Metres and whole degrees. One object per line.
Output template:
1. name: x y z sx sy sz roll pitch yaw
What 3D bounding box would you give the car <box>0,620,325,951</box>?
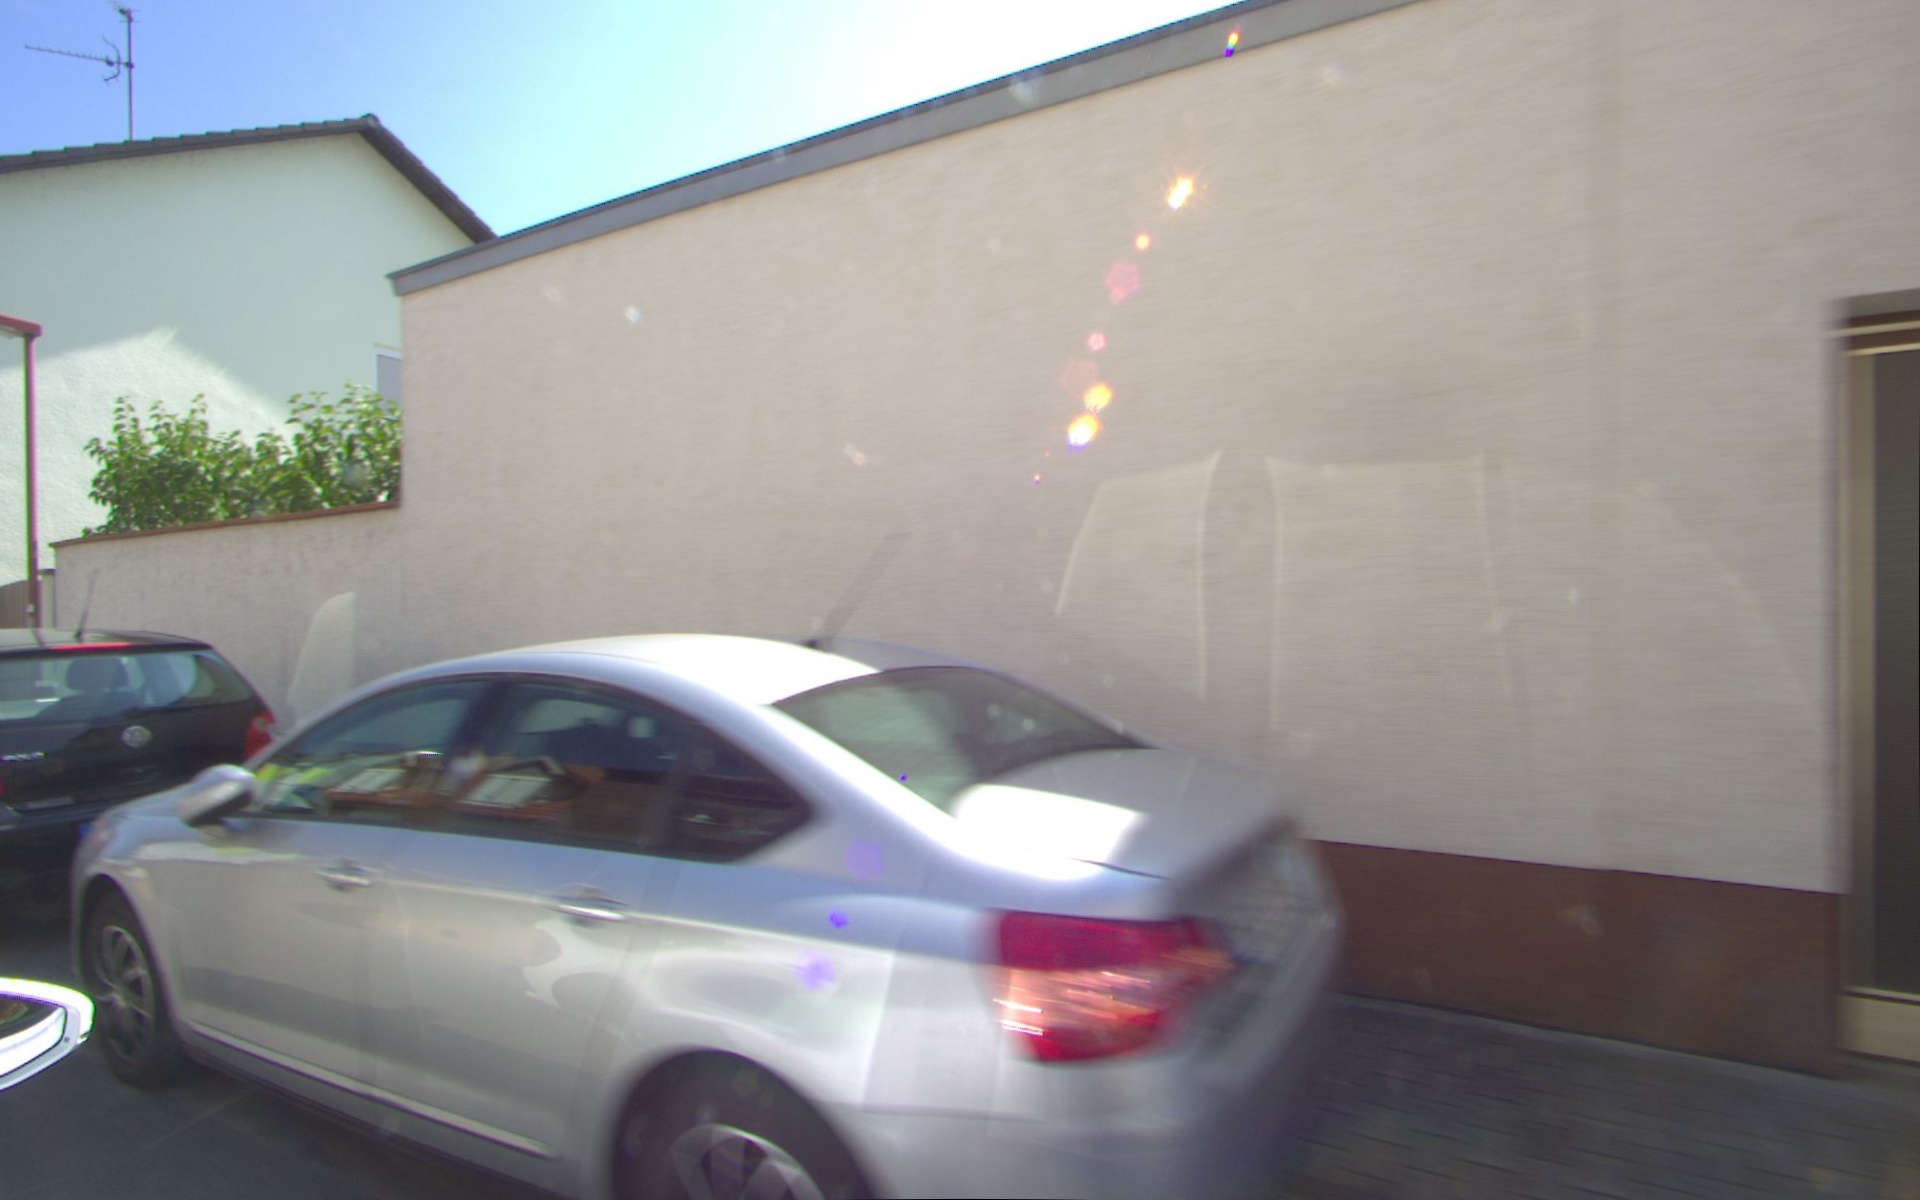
1. car: -5.761 0.868 5.946 4.072 1.455 1.647 -1 -1 29

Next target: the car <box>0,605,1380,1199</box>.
1. car: -1.325 0.820 3.368 4.861 1.501 1.787 -1 1 31
